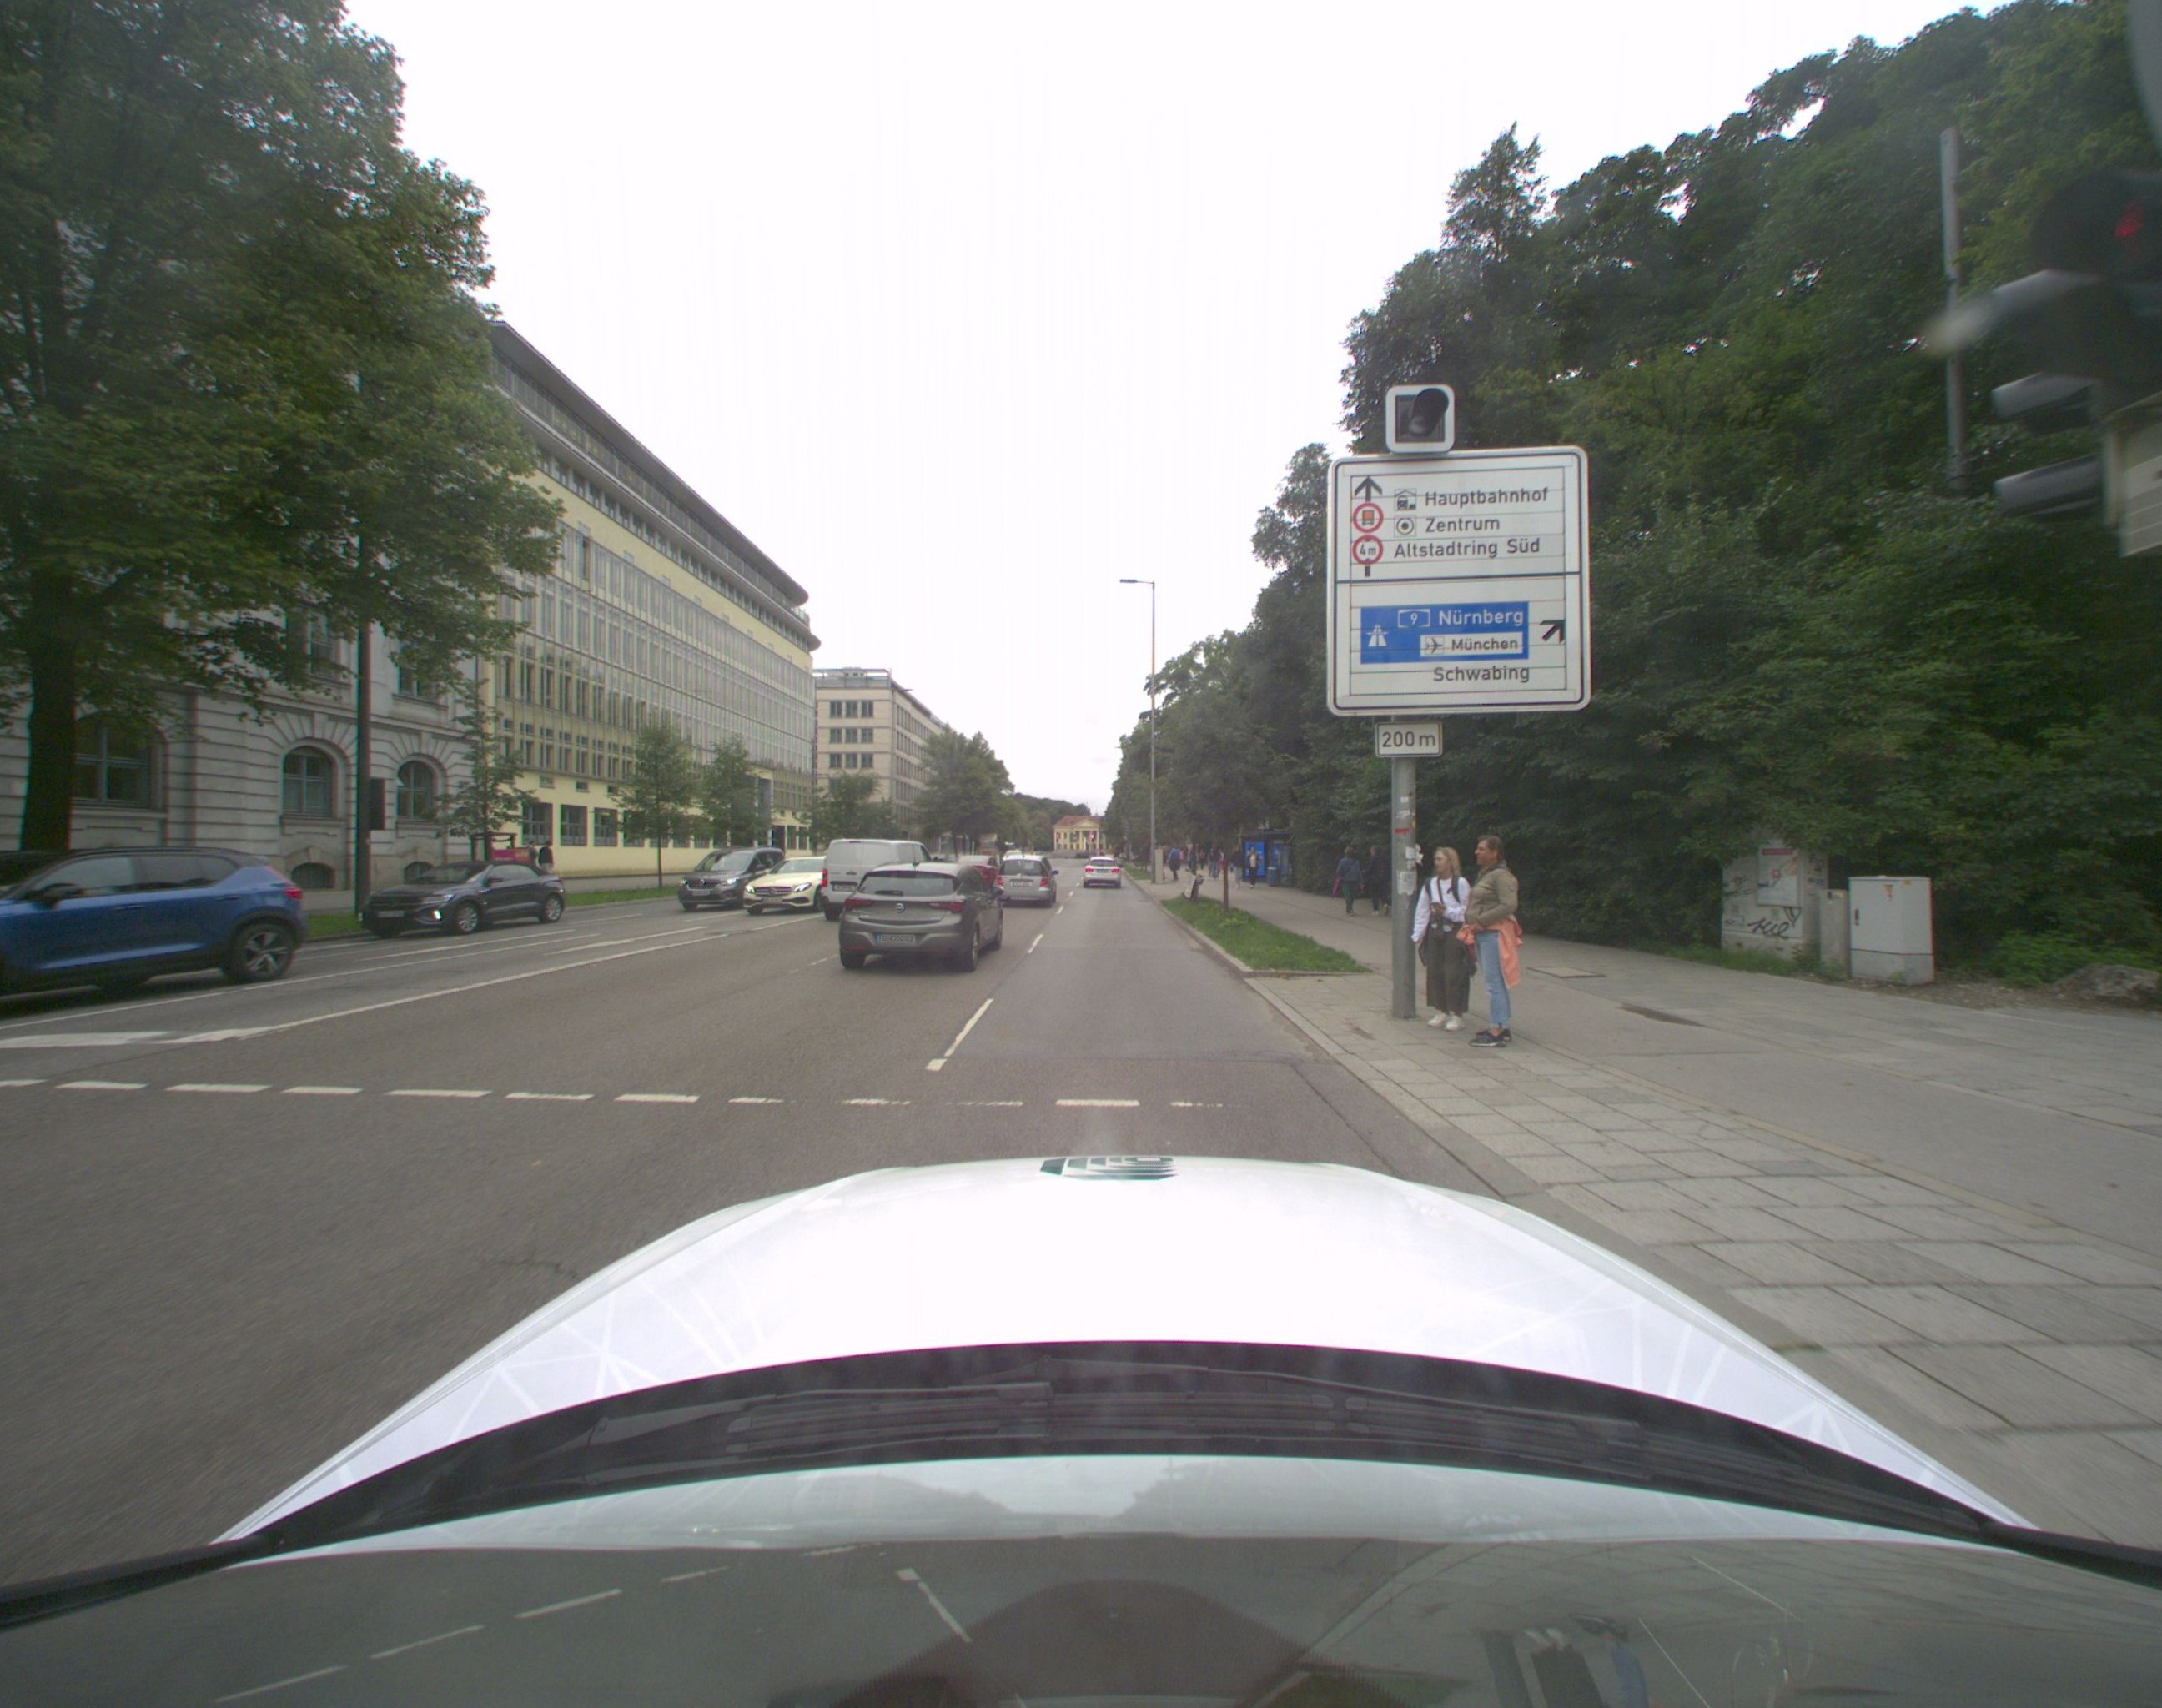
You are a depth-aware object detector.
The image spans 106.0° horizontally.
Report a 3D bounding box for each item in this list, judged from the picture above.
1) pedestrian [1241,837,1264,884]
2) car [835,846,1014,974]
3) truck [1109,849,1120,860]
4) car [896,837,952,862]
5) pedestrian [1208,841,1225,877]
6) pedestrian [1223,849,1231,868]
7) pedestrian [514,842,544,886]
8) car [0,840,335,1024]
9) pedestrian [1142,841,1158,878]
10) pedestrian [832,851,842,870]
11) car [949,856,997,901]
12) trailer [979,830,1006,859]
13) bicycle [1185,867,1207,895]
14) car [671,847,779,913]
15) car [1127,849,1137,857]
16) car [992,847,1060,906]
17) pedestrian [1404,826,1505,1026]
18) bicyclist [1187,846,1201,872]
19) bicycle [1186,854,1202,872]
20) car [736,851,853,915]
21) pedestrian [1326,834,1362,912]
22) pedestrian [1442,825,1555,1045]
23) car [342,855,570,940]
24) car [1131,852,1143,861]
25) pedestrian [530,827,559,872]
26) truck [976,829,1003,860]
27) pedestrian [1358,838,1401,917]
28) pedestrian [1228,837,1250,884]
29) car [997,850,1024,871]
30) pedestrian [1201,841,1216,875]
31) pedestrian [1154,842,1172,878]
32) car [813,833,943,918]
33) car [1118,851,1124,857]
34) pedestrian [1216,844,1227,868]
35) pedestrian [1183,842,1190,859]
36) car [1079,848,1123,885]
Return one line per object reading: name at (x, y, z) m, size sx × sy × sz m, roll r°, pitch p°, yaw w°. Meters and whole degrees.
pedestrian at (7.111, 0.262, 33.796) m, size 0.705 × 1.915 × 0.957 m, roll 1°, pitch 1°, yaw 1°
car at (-2.115, 0.670, 12.105) m, size 1.703 × 1.552 × 4.003 m, roll 1°, pitch 1°, yaw 2°
truck at (10.736, 0.242, 260.478) m, size 3.313 × 3.366 × 8.666 m, roll 1°, pitch 1°, yaw 2°
car at (-17.080, -0.502, 88.997) m, size 5.667 × 2.536 × 2.154 m, roll -1°, pitch 1°, yaw -3°
pedestrian at (6.989, 0.251, 42.083) m, size 0.705 × 1.808 × 0.950 m, roll 1°, pitch 1°, yaw 1°
pedestrian at (10.574, 0.320, 58.949) m, size 0.455 × 1.326 × 0.649 m, roll 1°, pitch 1°, yaw 6°
pedestrian at (-22.414, 0.394, 33.089) m, size 0.613 × 1.777 × 0.836 m, roll 1°, pitch 0°, yaw 1°
car at (-10.639, 0.724, 8.338) m, size 1.833 × 1.655 × 4.352 m, roll -2°, pitch 1°, yaw 2°
pedestrian at (3.409, 0.263, 40.420) m, size 0.705 × 1.808 × 0.639 m, roll 1°, pitch 0°, yaw 1°
pedestrian at (-23.660, 0.637, 78.908) m, size 0.679 × 1.775 × 0.675 m, roll 1°, pitch 0°, yaw 5°
car at (-4.436, 0.965, 33.961) m, size 1.776 × 1.654 × 3.993 m, roll 1°, pitch 1°, yaw -5°
trailer at (-12.058, -1.319, 111.855) m, size 2.943 × 3.740 × 11.758 m, roll 1°, pitch 1°, yaw -3°
bicycle at (3.624, 0.850, 25.801) m, size 0.491 × 0.794 × 1.890 m, roll 1°, pitch 1°, yaw 2°
car at (-10.379, 0.687, 24.070) m, size 1.827 × 1.750 × 4.248 m, roll 0°, pitch 0°, yaw -8°
car at (9.301, -0.168, 150.098) m, size 1.718 × 1.464 × 4.778 m, roll -1°, pitch 1°, yaw 2°
car at (-1.657, 0.646, 25.765) m, size 1.773 × 1.654 × 4.001 m, roll 1°, pitch 1°, yaw 1°
pedestrian at (3.423, 0.630, 7.502) m, size 0.623 × 1.760 × 0.635 m, roll -1°, pitch 1°, yaw -3°
bicyclist at (6.692, 0.286, 48.125) m, size 0.705 × 1.561 × 0.639 m, roll 1°, pitch 1°, yaw 1°
bicycle at (6.663, 0.523, 48.124) m, size 0.672 × 1.030 × 2.013 m, roll 1°, pitch 1°, yaw 1°
car at (-7.622, 0.692, 22.174) m, size 1.825 × 1.542 × 4.815 m, roll 0°, pitch 0°, yaw -4°
pedestrian at (6.366, 0.446, 19.732) m, size 0.668 × 1.839 × 0.641 m, roll 1°, pitch 0°, yaw 2°
pedestrian at (3.504, 0.642, 6.875) m, size 0.608 × 1.760 × 0.634 m, roll 0°, pitch 1°, yaw -6°
car at (-13.289, 0.843, 17.684) m, size 1.728 × 1.576 × 4.058 m, roll -1°, pitch 1°, yaw 2°
car at (9.530, 0.406, 138.016) m, size 1.820 × 1.549 × 4.754 m, roll -1°, pitch 1°, yaw 2°
pedestrian at (-21.777, -0.179, 33.078) m, size 0.613 × 1.777 × 0.836 m, roll 1°, pitch 0°, yaw 1°
truck at (-11.690, -1.223, 104.627) m, size 2.909 × 3.774 × 7.659 m, roll 1°, pitch 1°, yaw -3°
pedestrian at (7.171, 0.550, 19.603) m, size 0.748 × 1.839 × 0.757 m, roll 1°, pitch 0°, yaw 2°
pedestrian at (6.490, 0.258, 33.430) m, size 0.705 × 1.915 × 0.957 m, roll 1°, pitch 1°, yaw 1°
car at (-6.332, 0.584, 73.756) m, size 1.850 × 1.748 × 4.632 m, roll -2°, pitch 1°, yaw 2°
pedestrian at (6.788, 0.197, 43.338) m, size 0.705 × 1.808 × 0.639 m, roll 1°, pitch 0°, yaw 1°
pedestrian at (4.351, 0.313, 43.262) m, size 0.795 × 1.880 × 0.547 m, roll 1°, pitch 1°, yaw 37°
car at (-4.866, 0.454, 20.278) m, size 1.892 × 1.847 × 4.957 m, roll -1°, pitch 0°, yaw 1°
car at (11.002, -0.040, 223.051) m, size 1.718 × 1.323 × 4.030 m, roll -1°, pitch 2°, yaw 2°
pedestrian at (9.909, 0.127, 57.536) m, size 0.722 × 1.690 × 0.649 m, roll 1°, pitch 0°, yaw 6°
pedestrian at (11.434, -0.370, 88.356) m, size 0.585 × 1.822 × 0.850 m, roll 1°, pitch 0°, yaw 2°
car at (0.913, 0.574, 39.464) m, size 1.775 × 1.644 × 3.995 m, roll 1°, pitch 1°, yaw -4°
